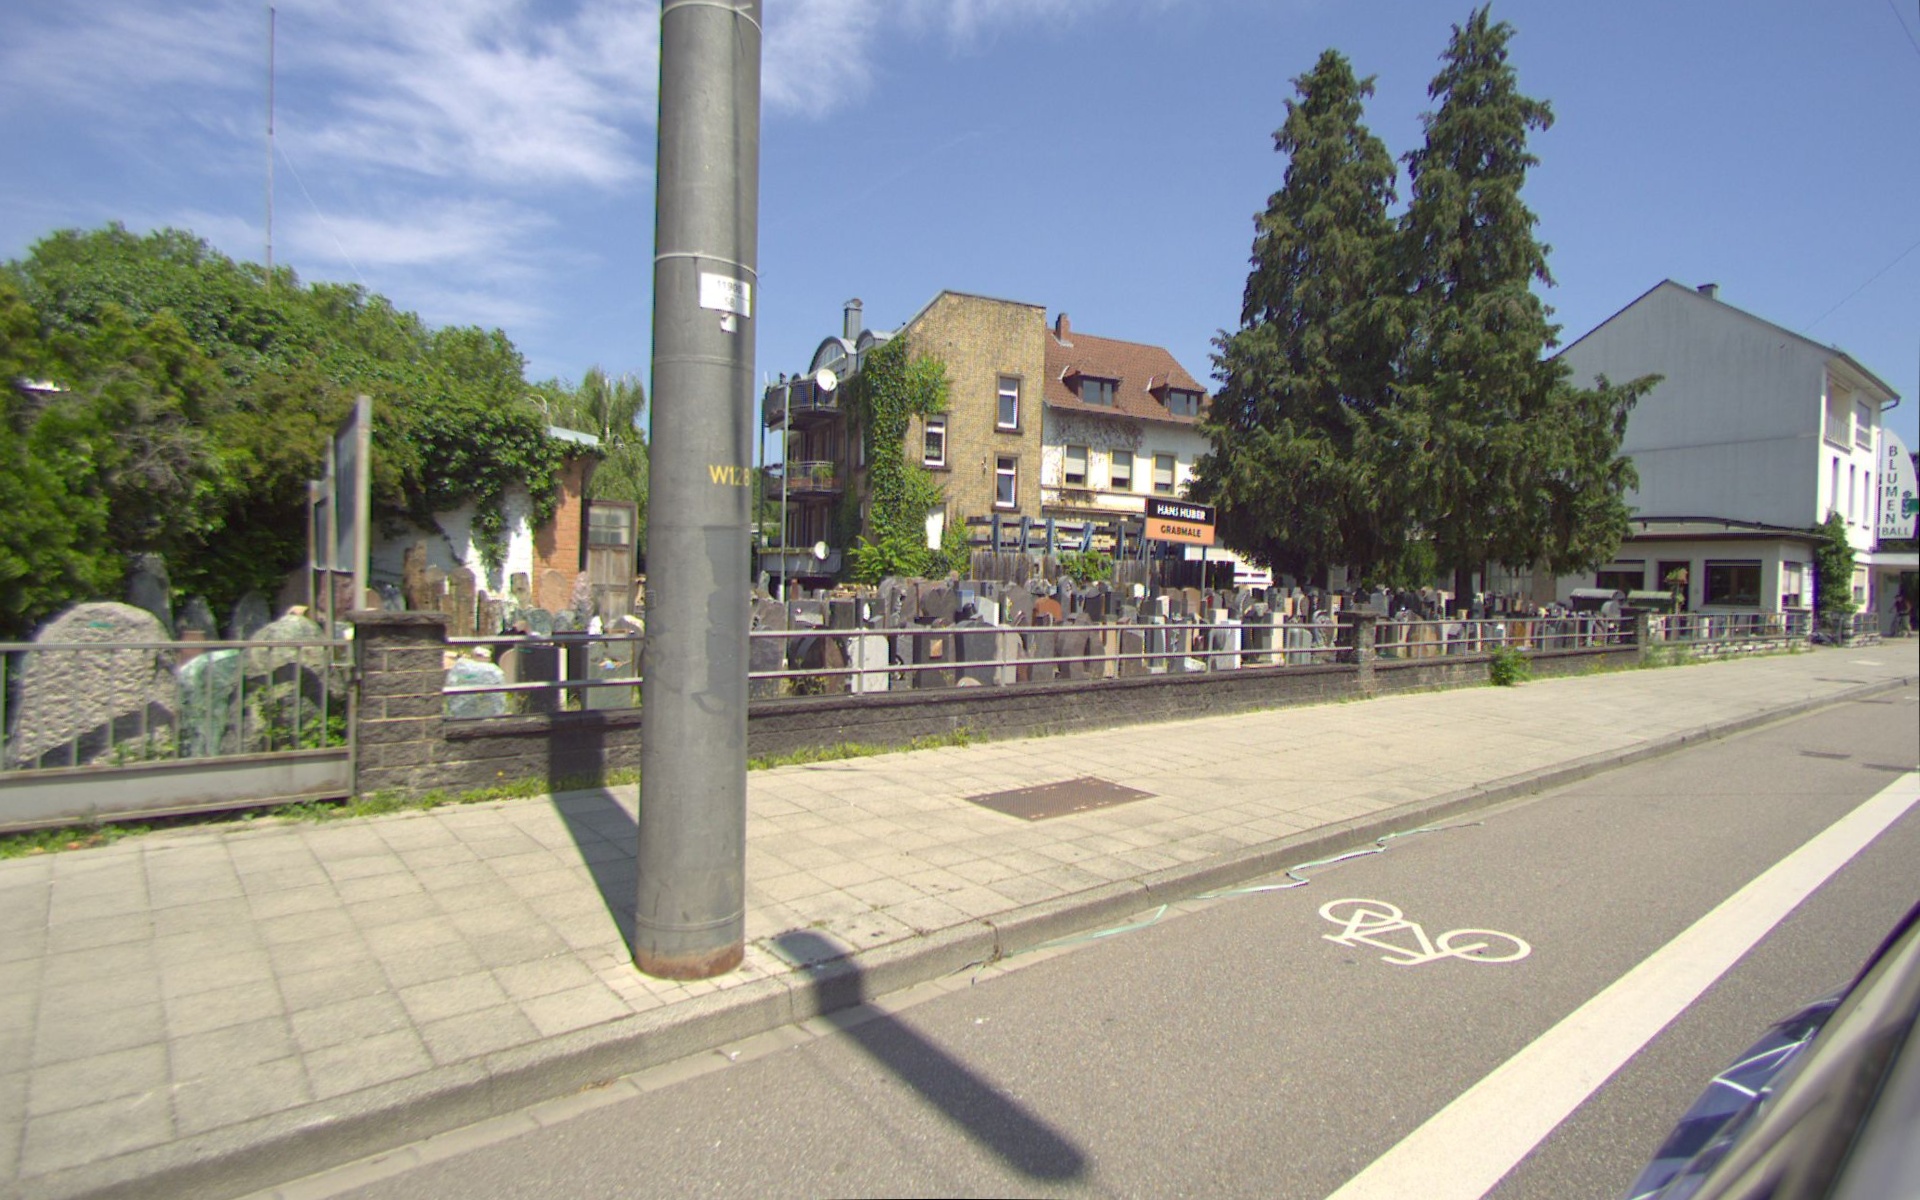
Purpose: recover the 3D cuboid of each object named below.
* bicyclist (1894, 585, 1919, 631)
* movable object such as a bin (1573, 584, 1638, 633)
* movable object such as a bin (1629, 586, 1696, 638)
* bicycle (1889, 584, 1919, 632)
[{"bbox_3d":[40.000,0.336,42.531,0.870,1.897,0.793,2,3,-31],"label":"bicyclist"},{"bbox_3d":[20.687,0.267,32.442,1.129,1.500,1.392,1,1,-35],"label":"movable object such as a bin"},{"bbox_3d":[21.586,0.357,31.086,1.130,1.500,1.391,1,1,-38],"label":"movable object such as a bin"},{"bbox_3d":[40.057,0.347,42.569,1.919,1.923,0.802,2,3,-32],"label":"bicycle"}]
